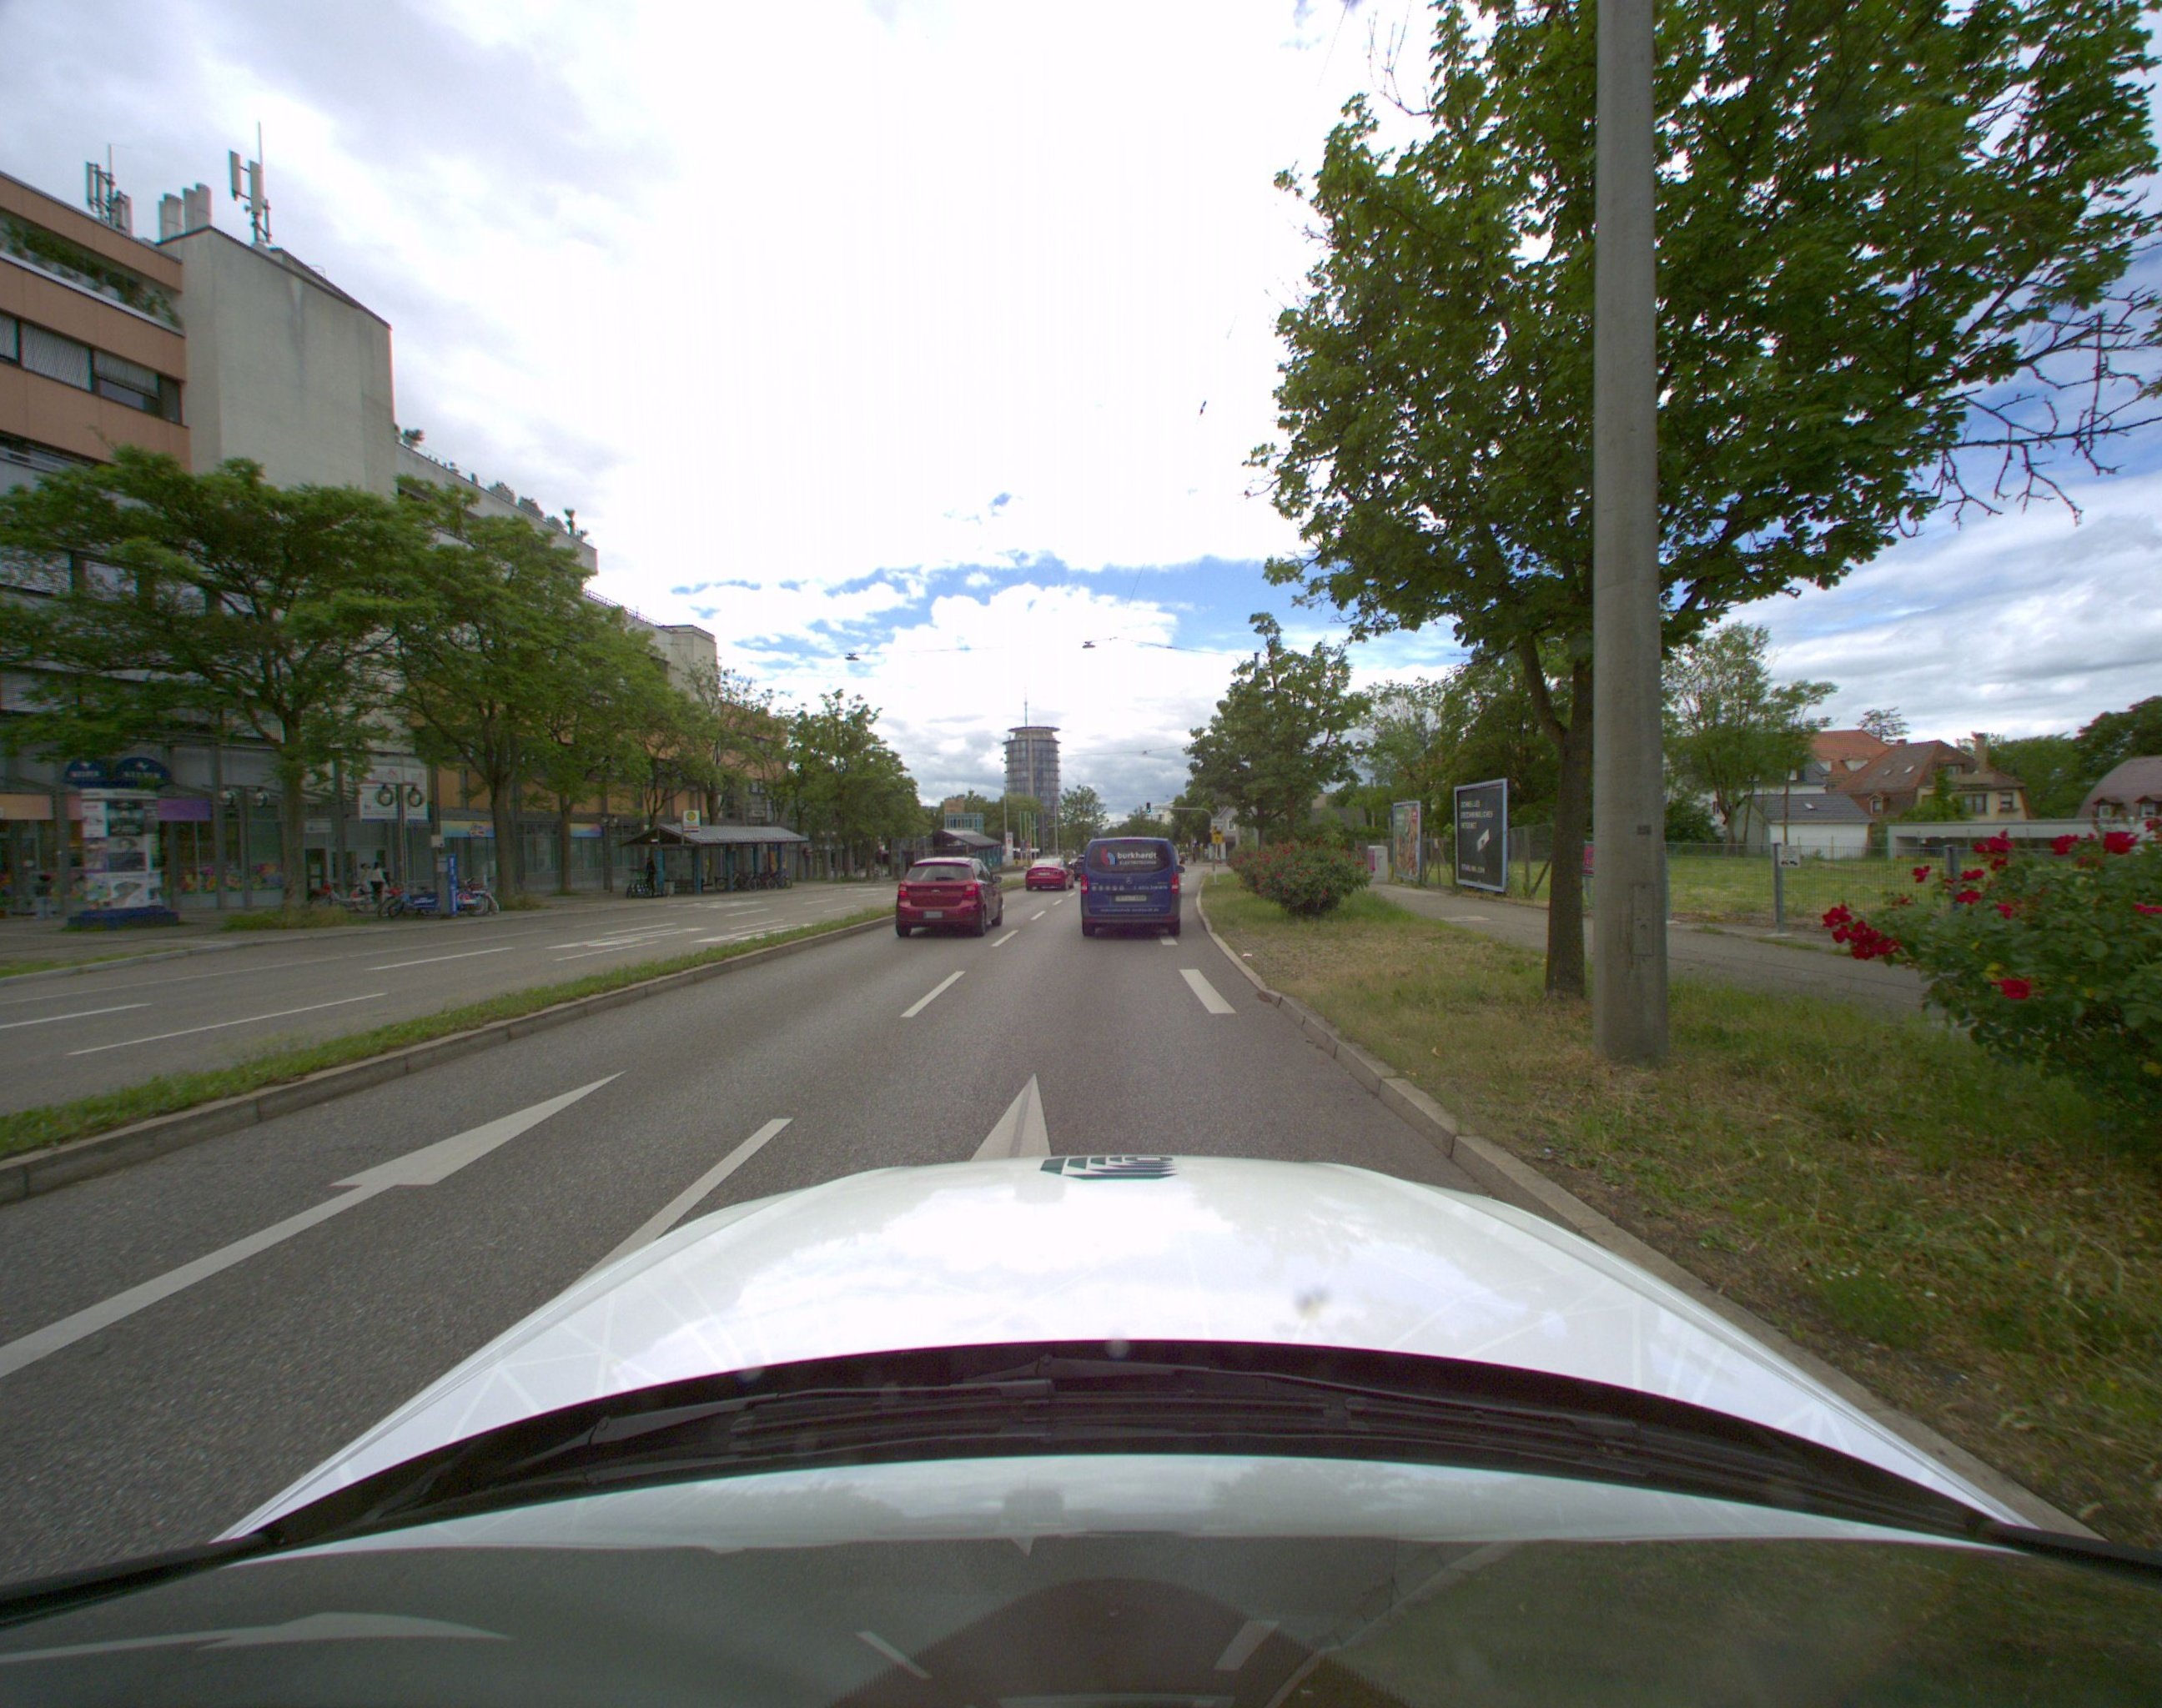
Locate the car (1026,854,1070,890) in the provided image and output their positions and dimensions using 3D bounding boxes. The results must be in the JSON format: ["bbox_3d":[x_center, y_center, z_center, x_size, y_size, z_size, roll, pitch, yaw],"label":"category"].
[{"bbox_3d":[-1.469,0.815,37.668,1.862,1.486,3.999,-2,-1,0],"label":"car"}]

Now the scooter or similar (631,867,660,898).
[{"bbox_3d":[-19.102,1.256,35.725,1.123,1.295,0.268,-1,0,0],"label":"scooter or similar"}]

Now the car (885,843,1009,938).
[{"bbox_3d":[-2.634,0.681,16.912,1.739,1.723,4.002,0,0,2],"label":"car"}]

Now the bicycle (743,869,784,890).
[{"bbox_3d":[-18.603,1.461,47.761,2.063,1.153,0.710,-1,0,-8],"label":"bicycle"}]

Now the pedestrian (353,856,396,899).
[{"bbox_3d":[-27.397,0.889,31.612,0.729,1.618,0.998,-2,0,4],"label":"pedestrian"}]

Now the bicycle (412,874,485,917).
[{"bbox_3d":[-19.749,1.266,25.439,0.619,1.253,1.694,-2,0,41],"label":"bicycle"}]

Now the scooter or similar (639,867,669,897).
[{"bbox_3d":[-19.172,1.245,36.568,1.197,1.320,0.259,-2,0,1],"label":"scooter or similar"}]

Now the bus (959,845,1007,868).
[{"bbox_3d":[-14.057,0.337,118.346,2.936,3.133,12.204,-1,0,13],"label":"bus"}]

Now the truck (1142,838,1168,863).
[{"bbox_3d":[6.878,-0.285,75.010,1.982,2.165,5.573,1,0,9],"label":"truck"}]

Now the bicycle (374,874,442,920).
[{"bbox_3d":[-19.657,1.236,23.798,0.427,1.253,1.479,-2,0,44],"label":"bicycle"}]

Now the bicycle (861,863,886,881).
[{"bbox_3d":[-15.330,1.295,60.143,1.047,1.271,2.428,1,0,5],"label":"bicycle"}]

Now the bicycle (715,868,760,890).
[{"bbox_3d":[-18.644,1.338,44.225,2.063,1.153,0.710,1,-1,-8],"label":"bicycle"}]

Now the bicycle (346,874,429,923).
[{"bbox_3d":[-19.466,1.218,22.890,0.619,1.253,1.694,-2,0,42],"label":"bicycle"}]

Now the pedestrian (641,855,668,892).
[{"bbox_3d":[-21.094,0.972,40.281,0.729,1.781,0.998,-2,0,4],"label":"pedestrian"}]

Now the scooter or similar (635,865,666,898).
[{"bbox_3d":[-19.185,1.211,36.270,1.197,1.423,0.259,-2,0,1],"label":"scooter or similar"}]

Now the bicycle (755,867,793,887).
[{"bbox_3d":[-18.768,1.401,49.791,2.063,1.153,0.710,-1,0,-8],"label":"bicycle"}]

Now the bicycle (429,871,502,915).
[{"bbox_3d":[-18.857,1.168,24.976,0.619,1.253,1.694,-2,0,41],"label":"bicycle"}]

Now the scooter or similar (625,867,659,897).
[{"bbox_3d":[-19.060,1.214,35.363,1.316,1.269,0.339,0,0,1],"label":"scooter or similar"}]

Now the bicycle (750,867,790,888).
[{"bbox_3d":[-18.582,1.403,48.747,2.063,1.153,0.710,2,-1,-8],"label":"bicycle"}]

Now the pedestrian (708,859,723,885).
[{"bbox_3d":[-23.172,1.118,51.693,0.529,1.643,0.677,-2,0,9],"label":"pedestrian"}]

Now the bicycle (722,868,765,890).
[{"bbox_3d":[-18.786,1.382,45.373,2.063,1.153,0.710,1,-1,-8],"label":"bicycle"}]

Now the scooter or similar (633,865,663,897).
[{"bbox_3d":[-19.139,1.198,35.999,1.197,1.385,0.222,-2,0,1],"label":"scooter or similar"}]

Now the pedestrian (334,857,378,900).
[{"bbox_3d":[-28.233,0.947,31.726,0.729,1.618,0.998,-2,0,4],"label":"pedestrian"}]

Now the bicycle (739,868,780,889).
[{"bbox_3d":[-18.285,1.392,46.360,2.063,1.153,0.710,0,-1,-8],"label":"bicycle"}]

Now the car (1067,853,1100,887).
[{"bbox_3d":[0.161,0.970,51.739,1.987,2.013,4.000,0,1,0],"label":"car"}]

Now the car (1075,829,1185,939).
[{"bbox_3d":[0.937,0.548,16.883,1.941,1.965,4.542,-1,0,1],"label":"car"}]

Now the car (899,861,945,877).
[{"bbox_3d":[-15.245,1.435,78.287,3.974,1.354,2.000,-2,0,0],"label":"car"}]

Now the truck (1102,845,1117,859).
[{"bbox_3d":[8.091,-0.524,230.086,3.351,3.727,11.299,0,0,6],"label":"truck"}]

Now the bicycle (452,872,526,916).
[{"bbox_3d":[-17.914,1.190,24.661,0.619,1.253,1.694,-2,0,41],"label":"bicycle"}]
